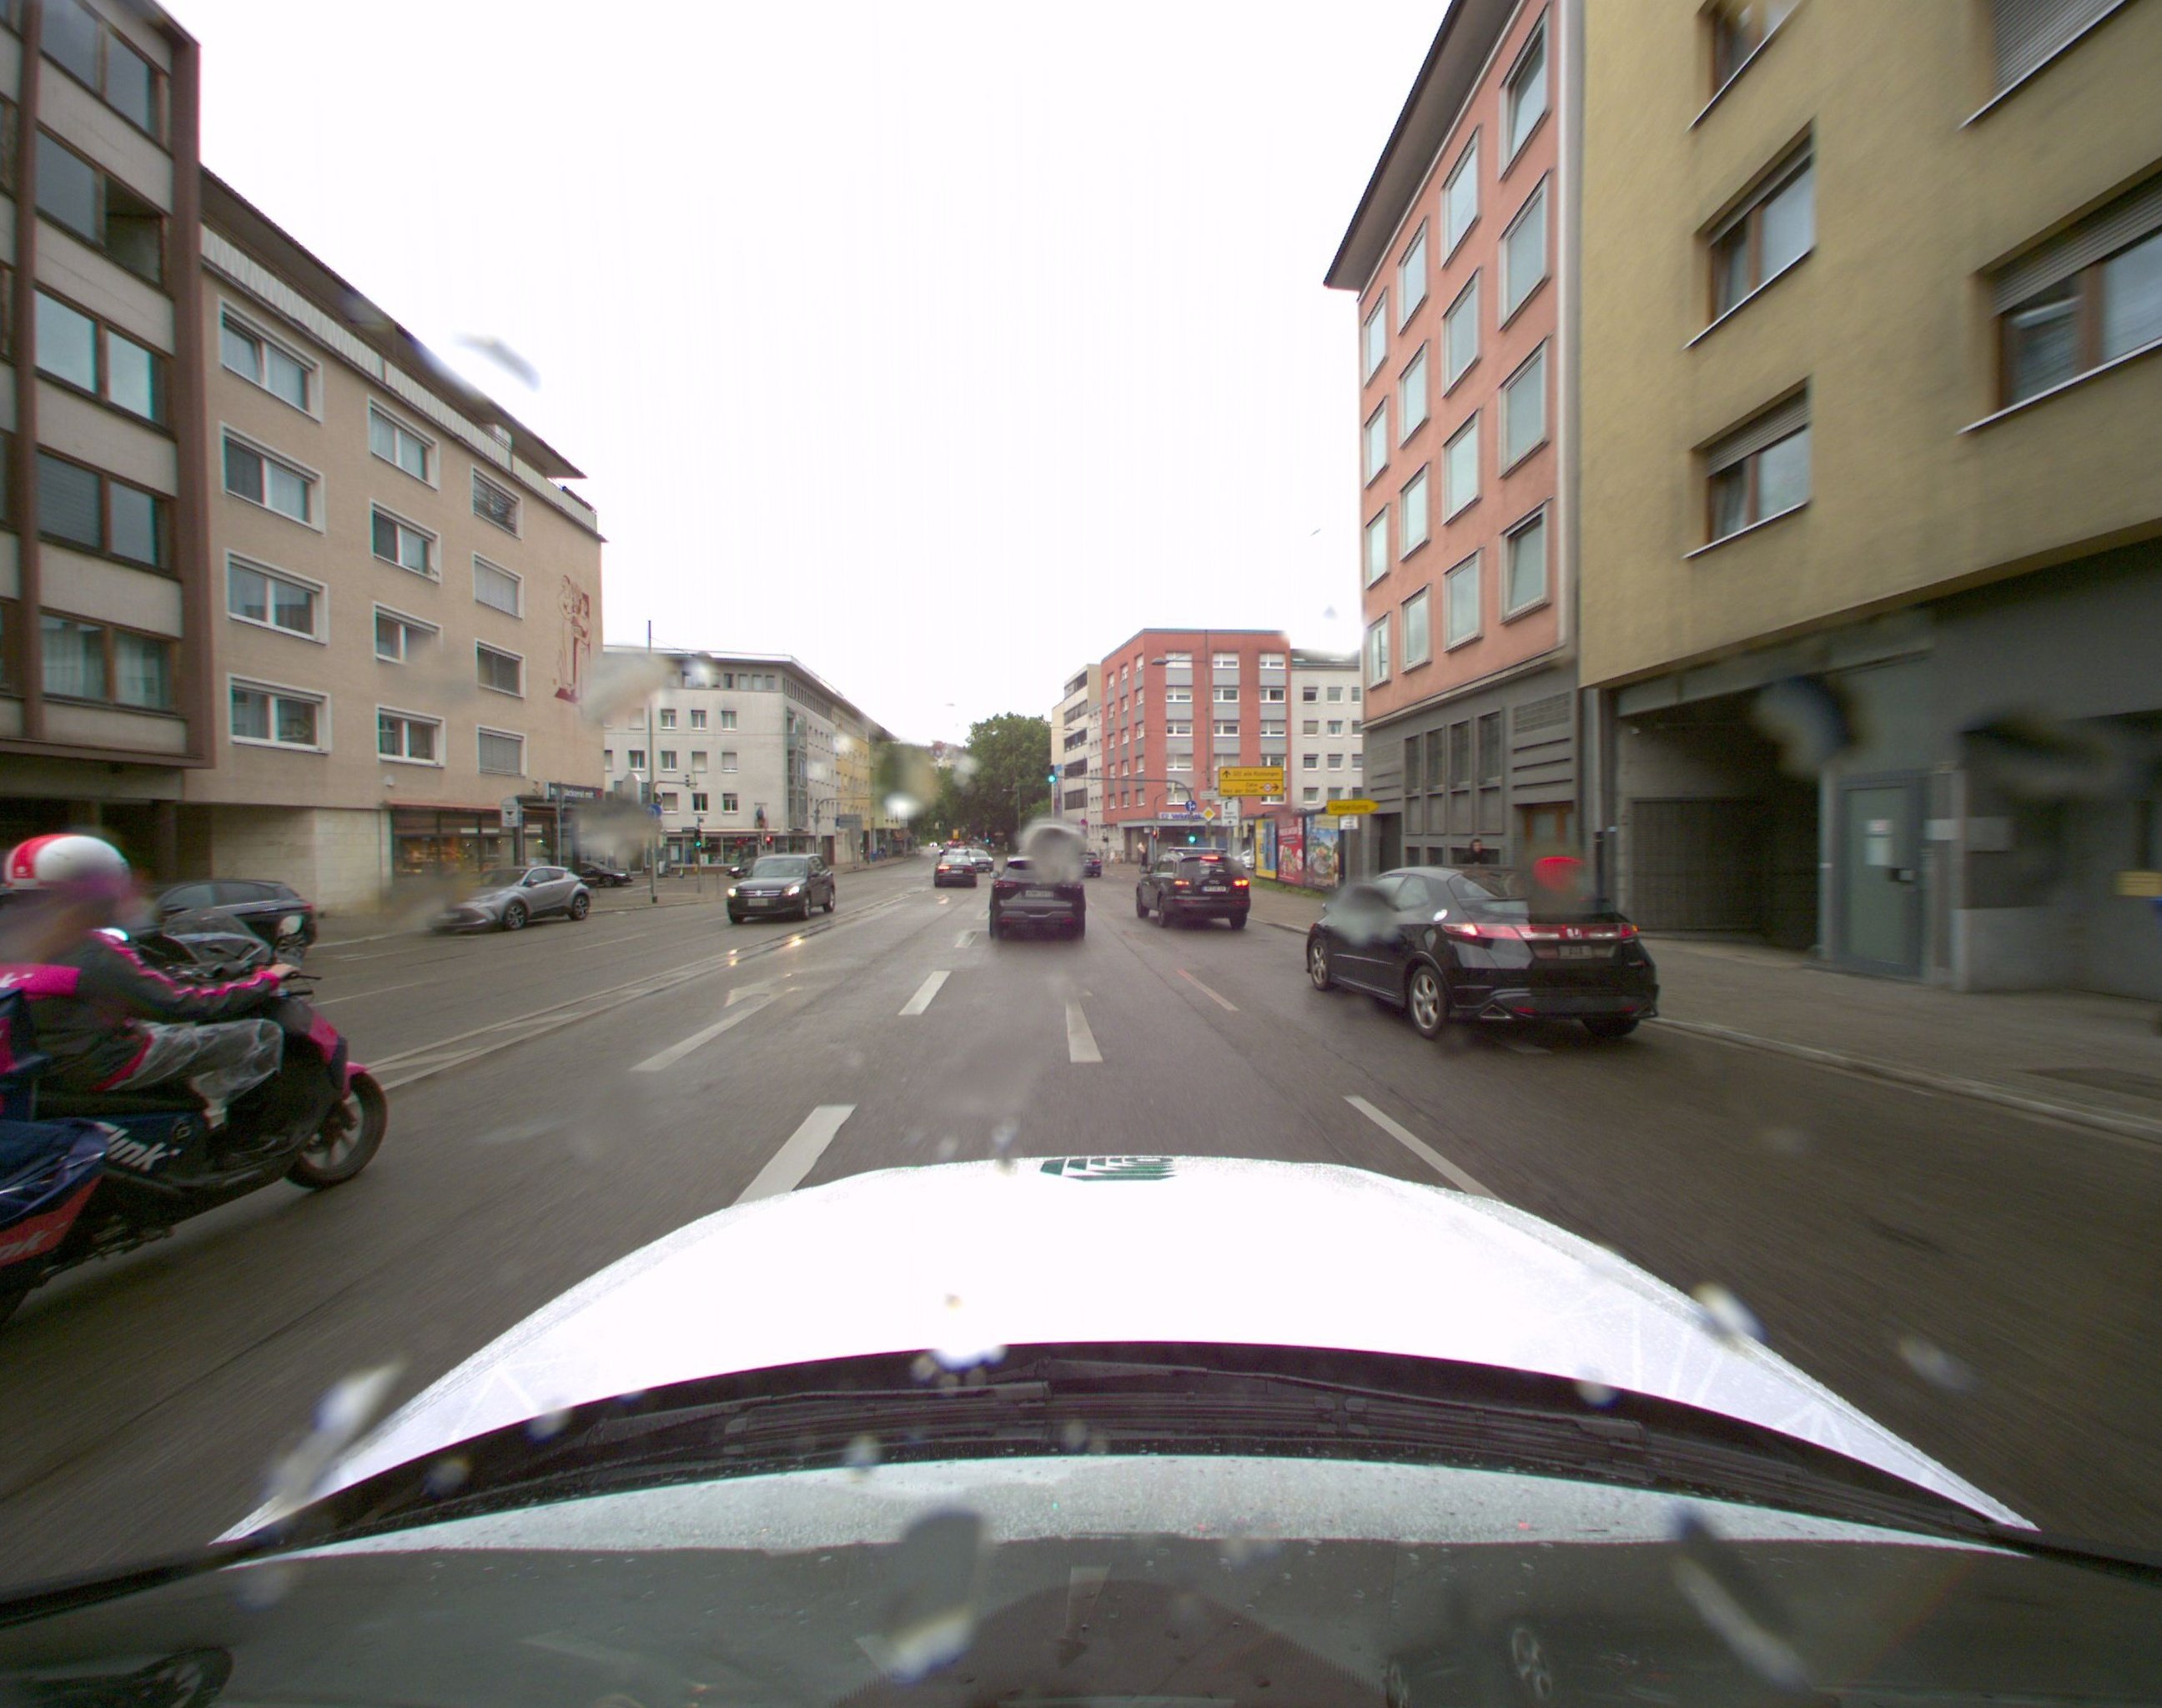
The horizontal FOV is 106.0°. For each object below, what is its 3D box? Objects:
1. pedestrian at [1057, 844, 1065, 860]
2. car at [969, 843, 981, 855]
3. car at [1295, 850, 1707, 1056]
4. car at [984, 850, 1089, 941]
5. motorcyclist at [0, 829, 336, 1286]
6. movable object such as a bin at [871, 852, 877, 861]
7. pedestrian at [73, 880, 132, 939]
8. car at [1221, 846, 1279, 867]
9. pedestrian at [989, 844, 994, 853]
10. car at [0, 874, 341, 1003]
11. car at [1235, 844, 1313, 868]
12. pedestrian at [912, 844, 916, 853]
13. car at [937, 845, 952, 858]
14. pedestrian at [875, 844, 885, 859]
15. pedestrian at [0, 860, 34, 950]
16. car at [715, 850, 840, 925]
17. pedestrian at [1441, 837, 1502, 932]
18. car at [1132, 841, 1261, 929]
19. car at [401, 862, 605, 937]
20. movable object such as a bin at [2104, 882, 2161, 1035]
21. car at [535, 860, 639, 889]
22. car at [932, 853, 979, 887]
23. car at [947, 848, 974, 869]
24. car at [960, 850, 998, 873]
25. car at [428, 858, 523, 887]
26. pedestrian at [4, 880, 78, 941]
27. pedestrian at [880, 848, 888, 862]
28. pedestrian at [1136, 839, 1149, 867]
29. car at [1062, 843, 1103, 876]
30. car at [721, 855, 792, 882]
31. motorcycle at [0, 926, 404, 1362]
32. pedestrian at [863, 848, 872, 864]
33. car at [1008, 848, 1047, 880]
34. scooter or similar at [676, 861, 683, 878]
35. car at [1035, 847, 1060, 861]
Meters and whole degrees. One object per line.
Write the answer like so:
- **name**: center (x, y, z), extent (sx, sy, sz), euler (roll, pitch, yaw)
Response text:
- **pedestrian**: center (-2.301, -0.241, 93.624), extent (0.614, 1.737, 0.677), euler (-3, 1, -18)
- **car**: center (-16.636, -0.783, 127.922), extent (1.820, 1.796, 3.854), euler (1, 1, -9)
- **car**: center (3.640, 0.759, 8.026), extent (1.780, 1.497, 4.050), euler (0, -1, -4)
- **car**: center (-0.958, 0.739, 16.681), extent (1.891, 1.629, 3.993), euler (0, 0, -5)
- **motorcyclist**: center (-3.705, 0.676, 3.094), extent (0.914, 1.493, 0.862), euler (-2, 0, -7)
- **movable object such as a bin**: center (-23.177, 0.298, 91.182), extent (0.453, 0.929, 0.502), euler (-1, 1, -4)
- **pedestrian**: center (-19.932, 1.107, 16.598), extent (0.666, 1.148, 0.598), euler (0, 0, 24)
- **car**: center (12.649, 0.179, 61.163), extent (3.940, 1.486, 1.700), euler (-1, 1, -6)
- **pedestrian**: center (-18.612, -1.072, 169.150), extent (0.712, 1.791, 0.673), euler (2, 1, 37)
- **car**: center (-14.299, 1.153, 12.521), extent (1.991, 1.477, 4.509), euler (-2, 0, -6)
- **car**: center (12.837, 0.136, 54.323), extent (4.646, 1.486, 1.915), euler (-1, 1, -7)
- **pedestrian**: center (-33.494, -1.130, 163.148), extent (0.668, 1.791, 0.717), euler (1, 1, -18)
- **car**: center (-20.375, -0.443, 121.577), extent (1.991, 1.859, 3.993), euler (1, 1, -5)
- **pedestrian**: center (-23.186, -0.302, 93.971), extent (0.864, 1.788, 0.873), euler (2, 0, -5)
- **pedestrian**: center (-19.525, 0.906, 14.660), extent (0.544, 1.583, 0.666), euler (0, 0, -17)
- **car**: center (-7.587, 0.767, 20.814), extent (1.859, 1.647, 4.246), euler (-2, 0, -5)
- **pedestrian**: center (7.593, 0.561, 15.876), extent (0.670, 1.787, 1.095), euler (0, 1, 0)
- **car**: center (2.612, 0.651, 19.718), extent (2.018, 1.869, 4.890), euler (0, 0, -6)
- **car**: center (-14.386, 1.045, 20.675), extent (1.903, 1.554, 4.627), euler (-2, 0, -2)
- **movable object such as a bin**: center (8.087, 0.752, 5.837), extent (0.679, 1.076, 0.667), euler (-1, 0, -4)
- **car**: center (-26.681, 1.102, 44.123), extent (4.330, 1.376, 2.038), euler (-1, 2, -13)
- **car**: center (-5.834, 0.699, 37.735), extent (1.993, 1.388, 4.485), euler (1, 1, -10)
- **car**: center (-9.253, 0.359, 62.294), extent (1.935, 1.527, 4.120), euler (-1, 0, -11)
- **car**: center (-7.145, 0.499, 56.736), extent (1.861, 1.553, 4.202), euler (-1, 1, -17)
- **car**: center (-38.148, 1.134, 51.453), extent (4.336, 1.631, 2.035), euler (-1, 1, -17)
- **pedestrian**: center (-20.372, 1.092, 15.966), extent (0.607, 1.148, 0.631), euler (0, 0, -4)
- **pedestrian**: center (-23.203, 0.090, 96.020), extent (0.798, 1.688, 0.814), euler (-1, 1, -12)
- **pedestrian**: center (4.819, -0.071, 63.800), extent (0.824, 2.158, 0.768), euler (1, 1, -5)
- **car**: center (0.055, 0.290, 48.912), extent (1.944, 1.816, 3.990), euler (-3, 0, -7)
- **car**: center (-21.365, 0.951, 53.726), extent (1.676, 1.626, 4.026), euler (-2, 0, 39)
- **motorcycle**: center (-3.705, 0.974, 3.163), extent (0.586, 1.191, 2.097), euler (-2, 0, -7)
- **pedestrian**: center (-21.105, 0.228, 80.569), extent (0.685, 1.581, 0.651), euler (2, 1, -4)
- **car**: center (-3.144, 0.549, 47.054), extent (1.944, 1.684, 3.989), euler (-3, 1, -8)
- **scooter or similar**: center (-27.352, 1.049, 55.508), extent (0.366, 1.094, 1.125), euler (-3, 4, -28)
- **car**: center (-3.531, -0.025, 85.000), extent (1.777, 1.401, 4.559), euler (-3, 1, -13)
